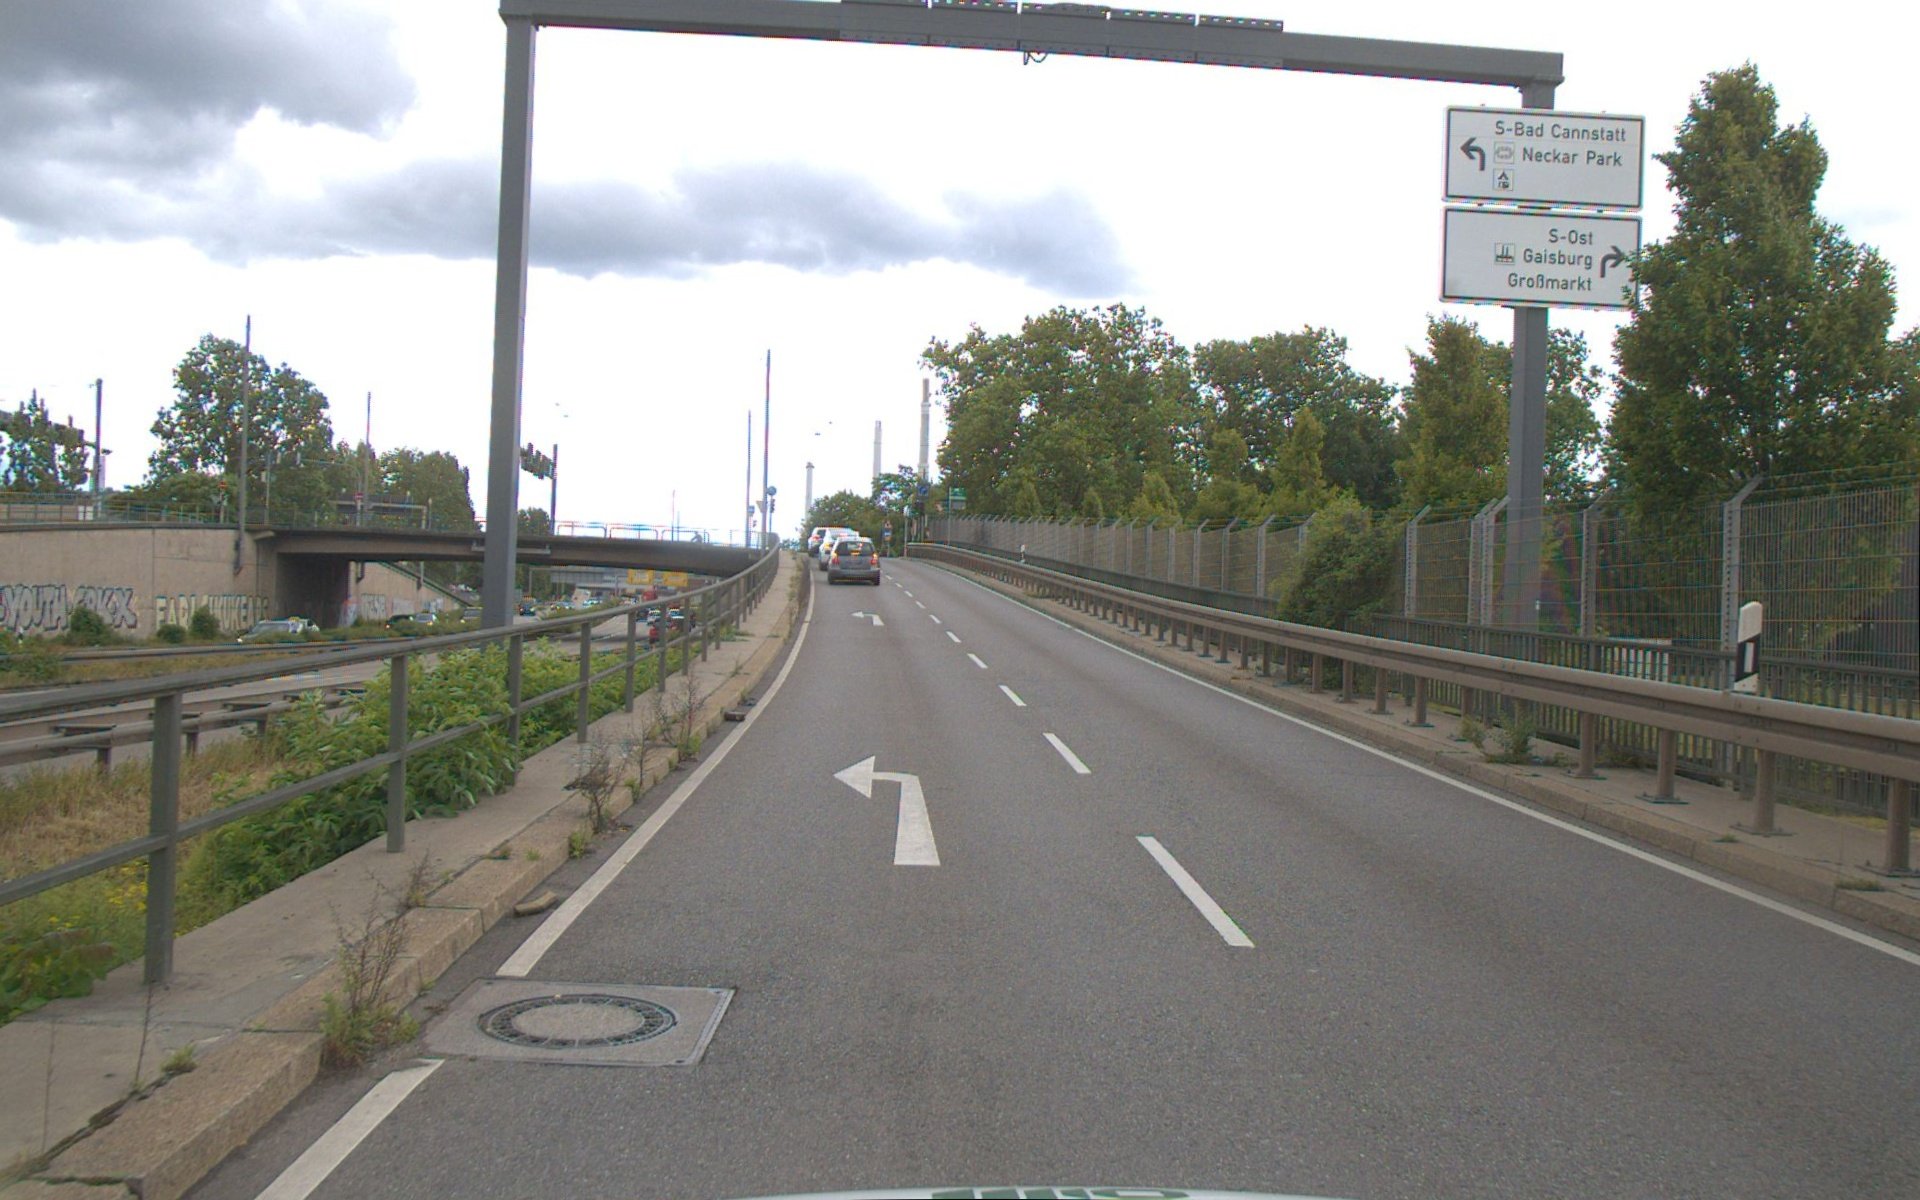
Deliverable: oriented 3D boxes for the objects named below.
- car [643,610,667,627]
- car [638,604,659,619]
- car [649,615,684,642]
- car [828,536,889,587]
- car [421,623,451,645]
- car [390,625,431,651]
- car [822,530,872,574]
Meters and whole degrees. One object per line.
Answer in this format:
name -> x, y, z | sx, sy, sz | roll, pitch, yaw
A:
car -> -32.791, 1.978, 178.114 | 1.954, 1.713, 3.998 | 2, 1, -2
car -> -38.551, 1.402, 204.560 | 1.954, 1.713, 3.998 | 2, 1, -2
car -> -17.754, 1.707, 100.058 | 1.957, 1.445, 3.992 | 2, 1, -9
car -> -3.453, -1.303, 57.081 | 1.714, 1.608, 4.085 | 2, 0, 1
car -> -41.626, 2.701, 131.455 | 1.960, 1.722, 4.684 | 1, -1, -15
car -> -38.574, 2.669, 116.166 | 1.956, 1.750, 4.693 | 0, -2, -9
car -> -4.684, -2.022, 68.363 | 1.955, 1.630, 3.997 | 1, 4, -5
